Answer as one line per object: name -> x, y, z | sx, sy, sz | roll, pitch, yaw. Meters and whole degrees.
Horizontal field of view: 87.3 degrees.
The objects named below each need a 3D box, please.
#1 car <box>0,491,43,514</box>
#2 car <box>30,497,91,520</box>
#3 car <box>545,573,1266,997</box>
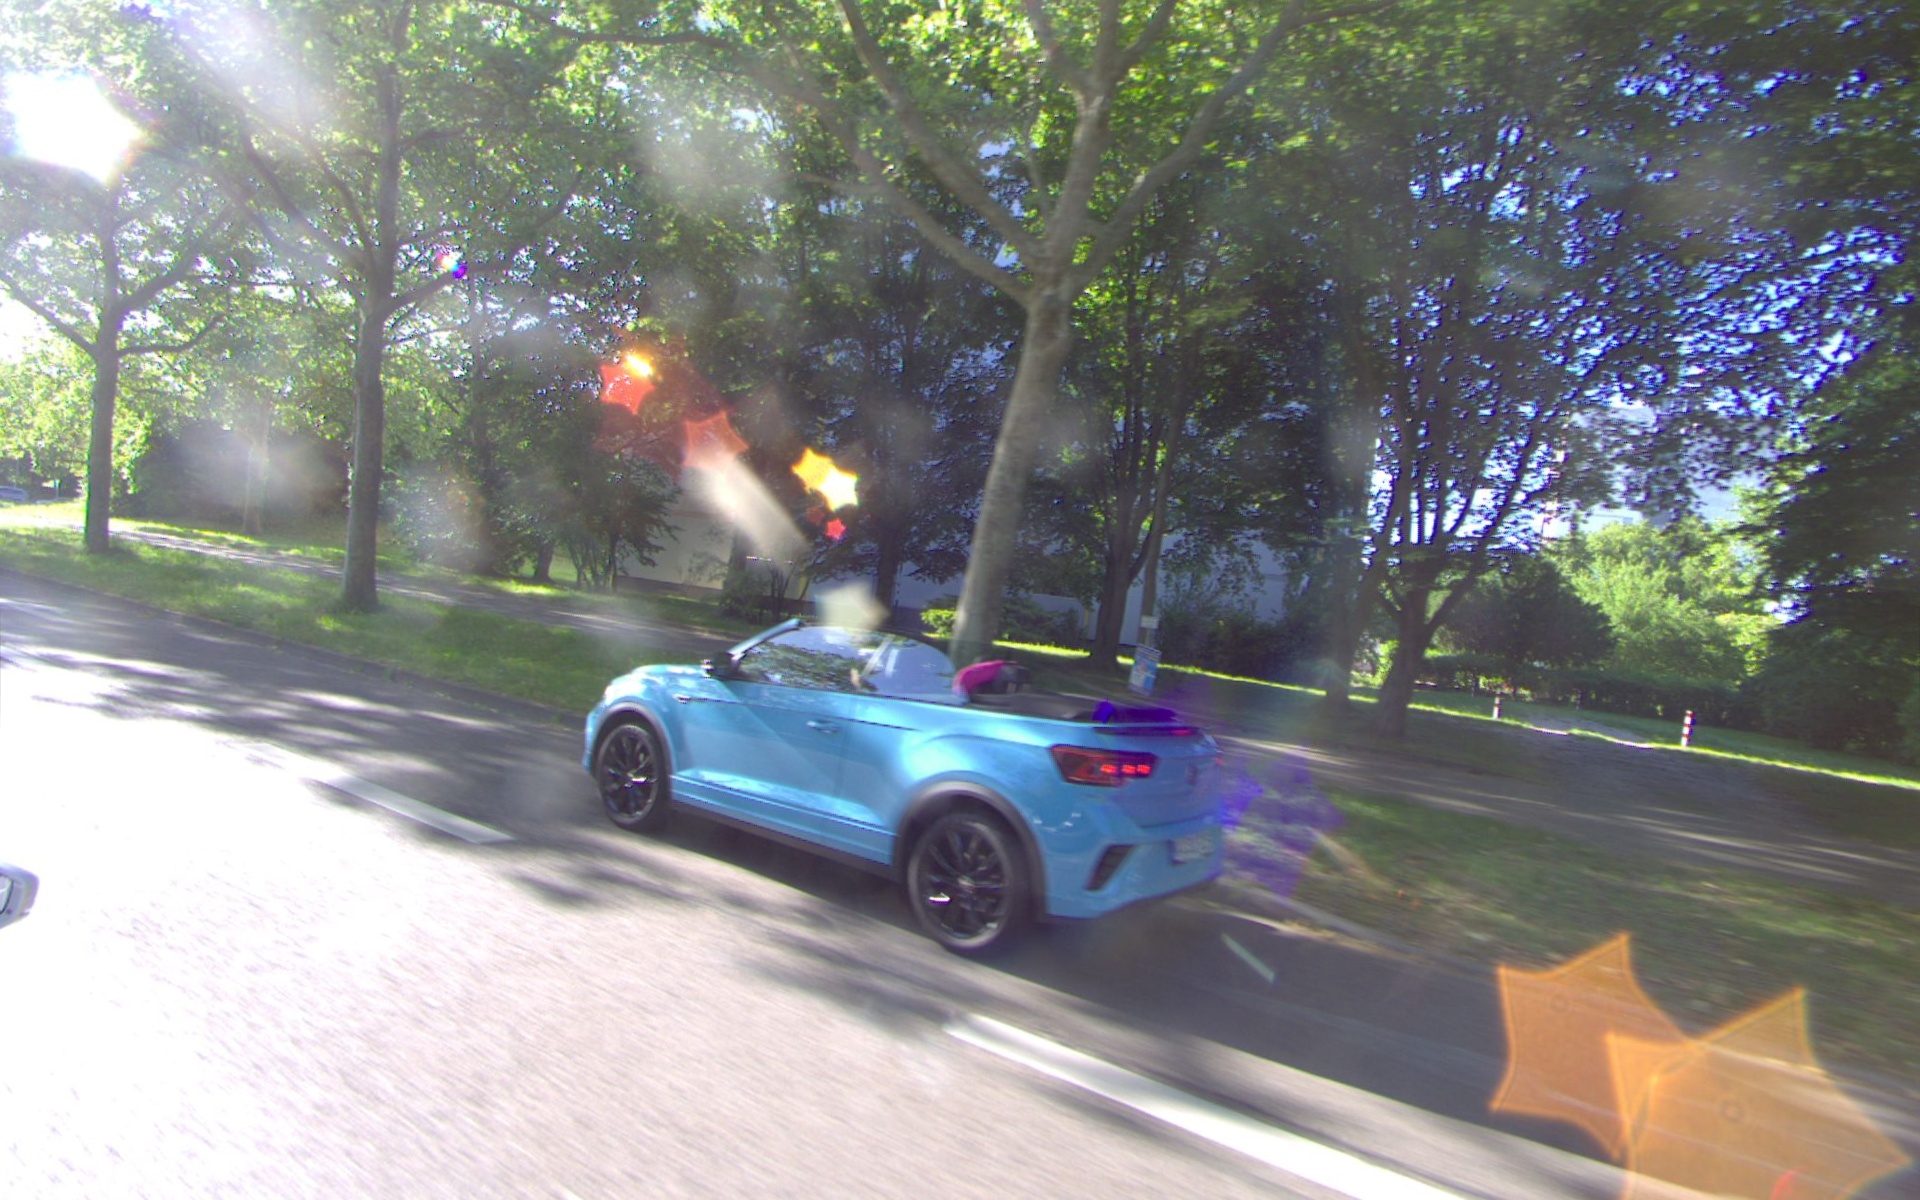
car -> -88.021, -9.181, 93.036 | 4.325, 1.577, 1.856 | 9, -2, -34
car -> -86.929, -8.810, 97.273 | 3.961, 1.512, 1.846 | 9, -2, -32
car -> -0.486, 0.838, 6.141 | 4.036, 1.501, 1.777 | 6, -2, 35
